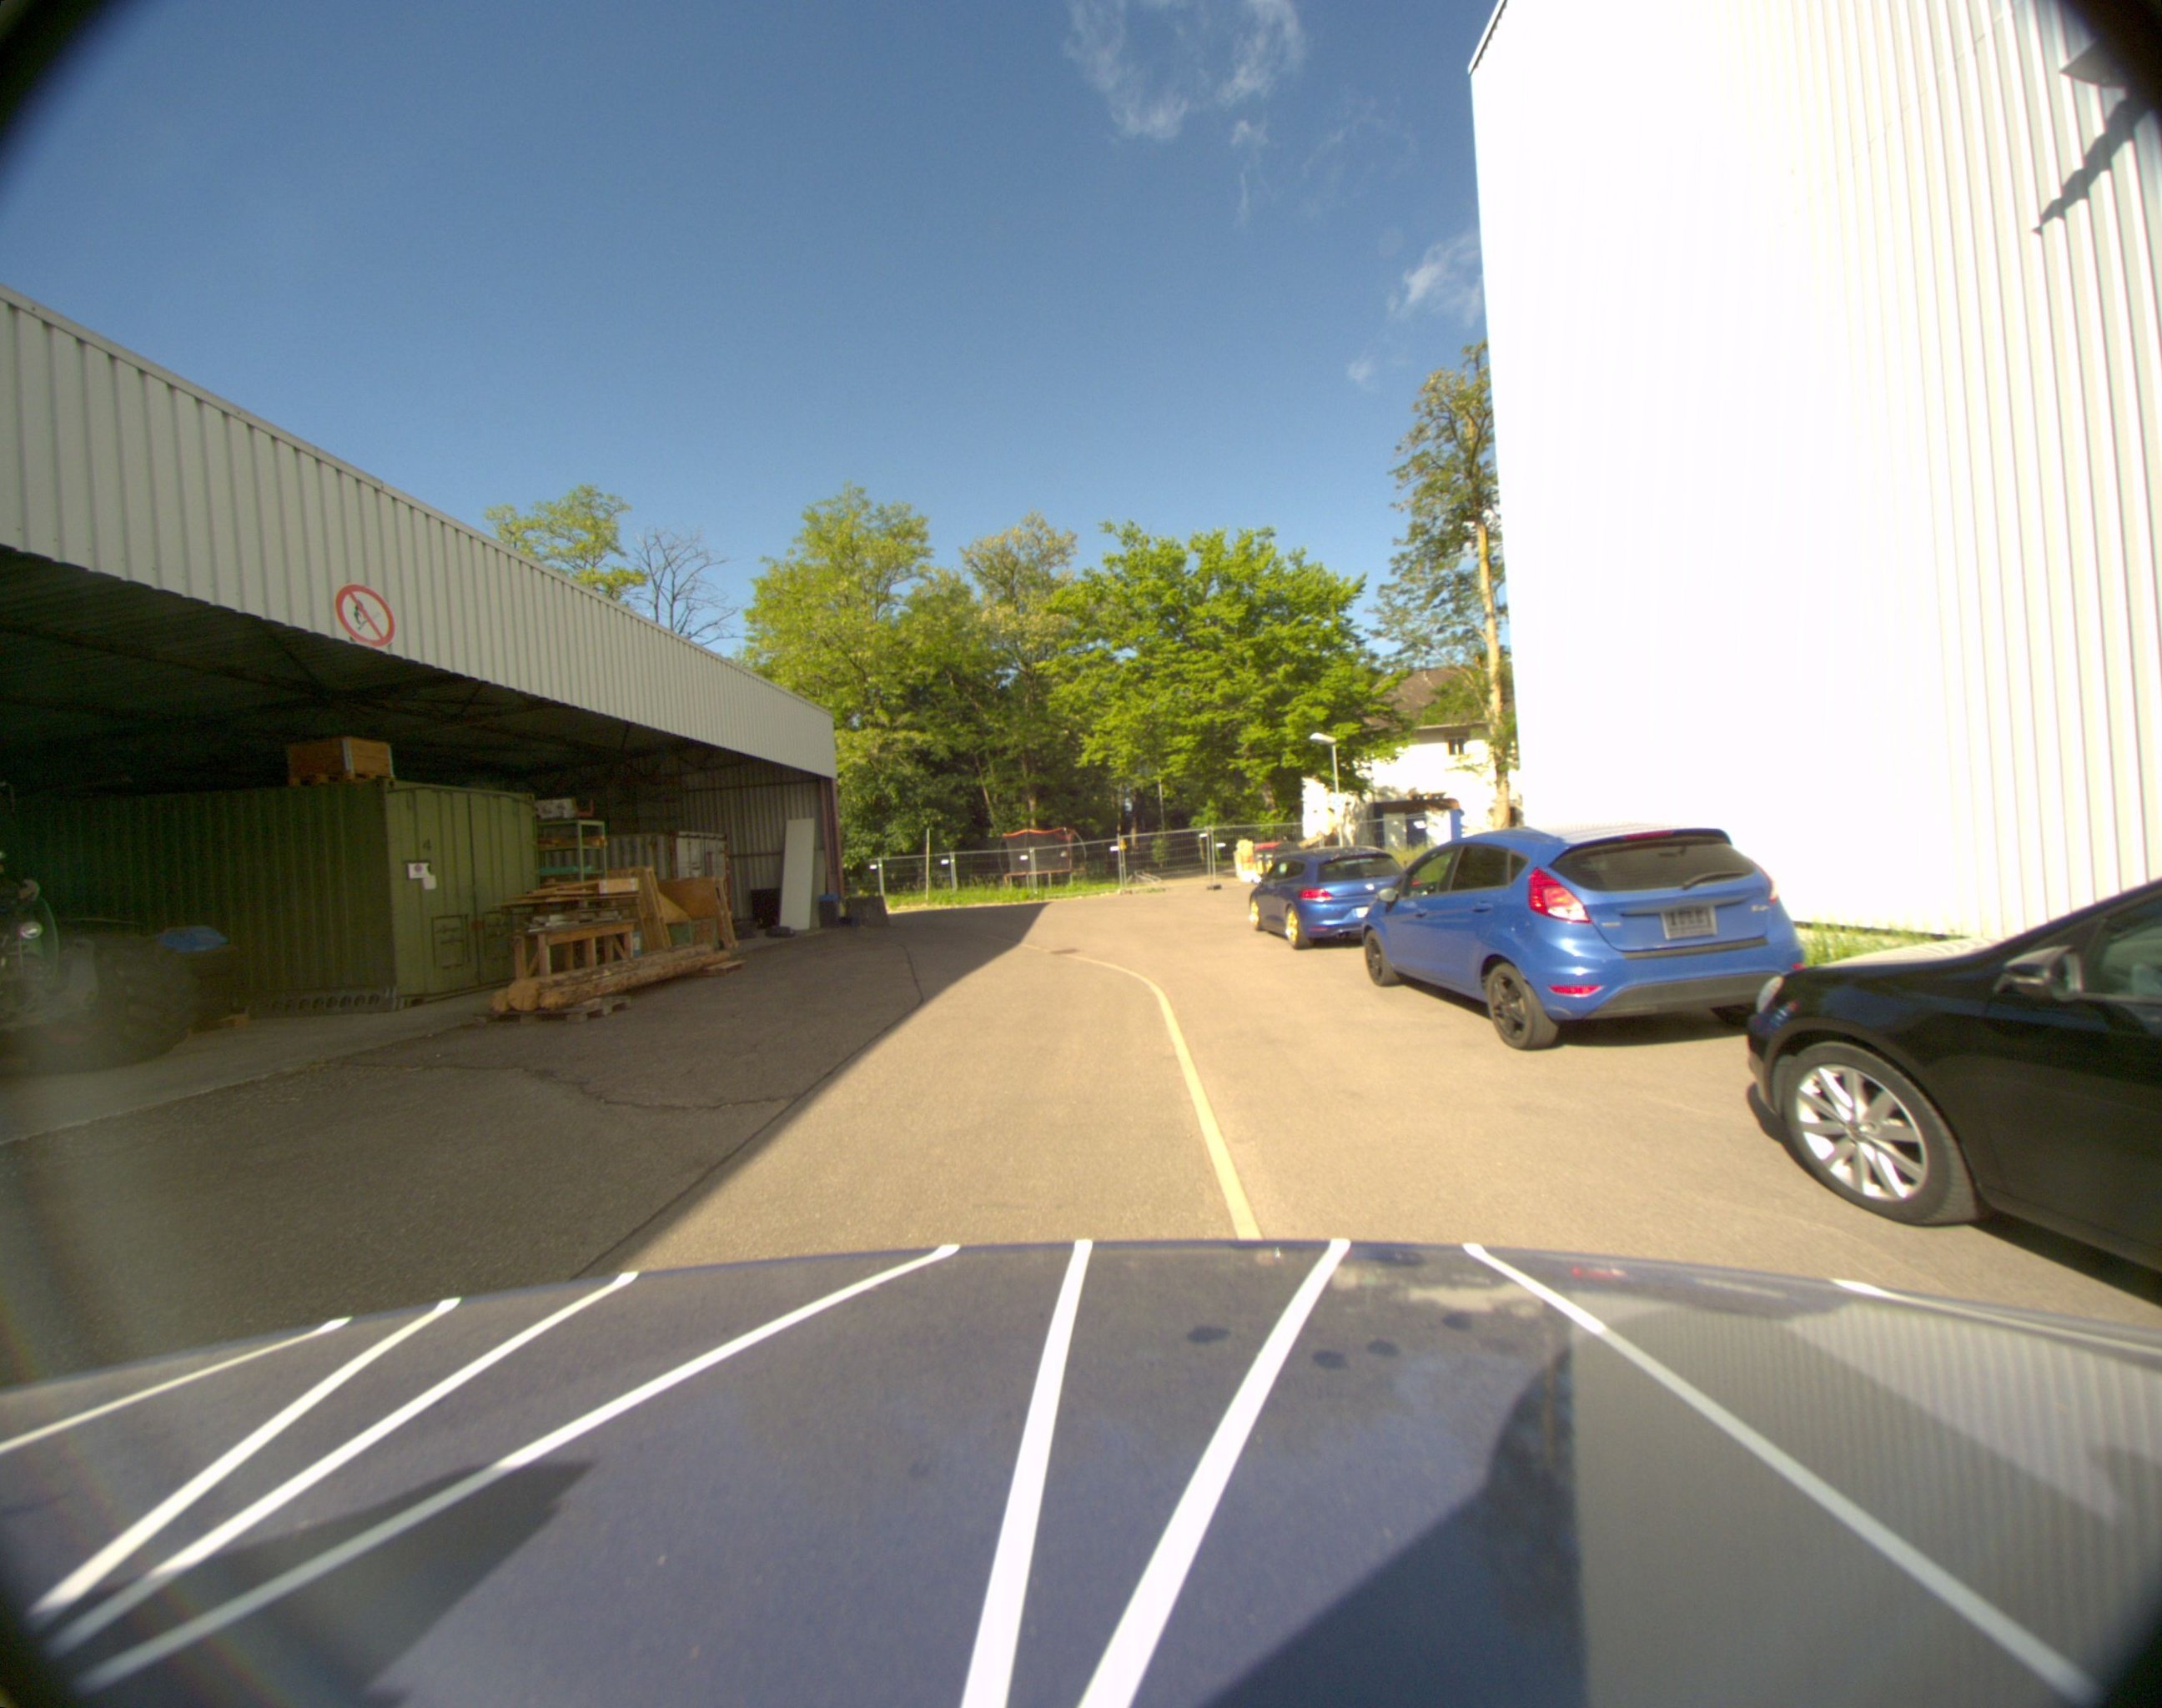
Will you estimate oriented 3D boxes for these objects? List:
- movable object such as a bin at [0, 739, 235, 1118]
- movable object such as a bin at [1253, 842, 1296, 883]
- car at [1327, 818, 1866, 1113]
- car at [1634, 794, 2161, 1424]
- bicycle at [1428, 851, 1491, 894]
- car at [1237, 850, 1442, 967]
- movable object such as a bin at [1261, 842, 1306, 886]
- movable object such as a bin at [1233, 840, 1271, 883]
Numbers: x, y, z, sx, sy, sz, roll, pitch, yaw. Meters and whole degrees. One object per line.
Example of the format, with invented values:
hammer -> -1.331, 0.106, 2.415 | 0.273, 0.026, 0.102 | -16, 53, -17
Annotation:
movable object such as a bin -> -12.866, 0.881, 5.883 | 9.214, 2.893, 3.212 | -4, 0, 3
movable object such as a bin -> 7.239, 0.309, 28.497 | 1.093, 1.431, 1.230 | -6, 1, -3
car -> 3.572, 0.634, 6.341 | 1.634, 1.491, 4.095 | -7, 0, 1
car -> 3.488, 0.597, 1.444 | 1.758, 1.491, 4.294 | -6, 0, 3
bicycle -> 9.422, 0.456, 18.992 | 0.482, 0.981, 1.835 | -6, 0, -3
car -> 3.733, 0.695, 11.770 | 1.778, 1.352, 4.054 | -5, 0, 1
movable object such as a bin -> 7.234, 0.344, 27.164 | 1.093, 1.424, 1.230 | -6, 1, -3
movable object such as a bin -> 6.828, 0.279, 30.411 | 1.093, 1.588, 1.230 | -5, 2, -3
